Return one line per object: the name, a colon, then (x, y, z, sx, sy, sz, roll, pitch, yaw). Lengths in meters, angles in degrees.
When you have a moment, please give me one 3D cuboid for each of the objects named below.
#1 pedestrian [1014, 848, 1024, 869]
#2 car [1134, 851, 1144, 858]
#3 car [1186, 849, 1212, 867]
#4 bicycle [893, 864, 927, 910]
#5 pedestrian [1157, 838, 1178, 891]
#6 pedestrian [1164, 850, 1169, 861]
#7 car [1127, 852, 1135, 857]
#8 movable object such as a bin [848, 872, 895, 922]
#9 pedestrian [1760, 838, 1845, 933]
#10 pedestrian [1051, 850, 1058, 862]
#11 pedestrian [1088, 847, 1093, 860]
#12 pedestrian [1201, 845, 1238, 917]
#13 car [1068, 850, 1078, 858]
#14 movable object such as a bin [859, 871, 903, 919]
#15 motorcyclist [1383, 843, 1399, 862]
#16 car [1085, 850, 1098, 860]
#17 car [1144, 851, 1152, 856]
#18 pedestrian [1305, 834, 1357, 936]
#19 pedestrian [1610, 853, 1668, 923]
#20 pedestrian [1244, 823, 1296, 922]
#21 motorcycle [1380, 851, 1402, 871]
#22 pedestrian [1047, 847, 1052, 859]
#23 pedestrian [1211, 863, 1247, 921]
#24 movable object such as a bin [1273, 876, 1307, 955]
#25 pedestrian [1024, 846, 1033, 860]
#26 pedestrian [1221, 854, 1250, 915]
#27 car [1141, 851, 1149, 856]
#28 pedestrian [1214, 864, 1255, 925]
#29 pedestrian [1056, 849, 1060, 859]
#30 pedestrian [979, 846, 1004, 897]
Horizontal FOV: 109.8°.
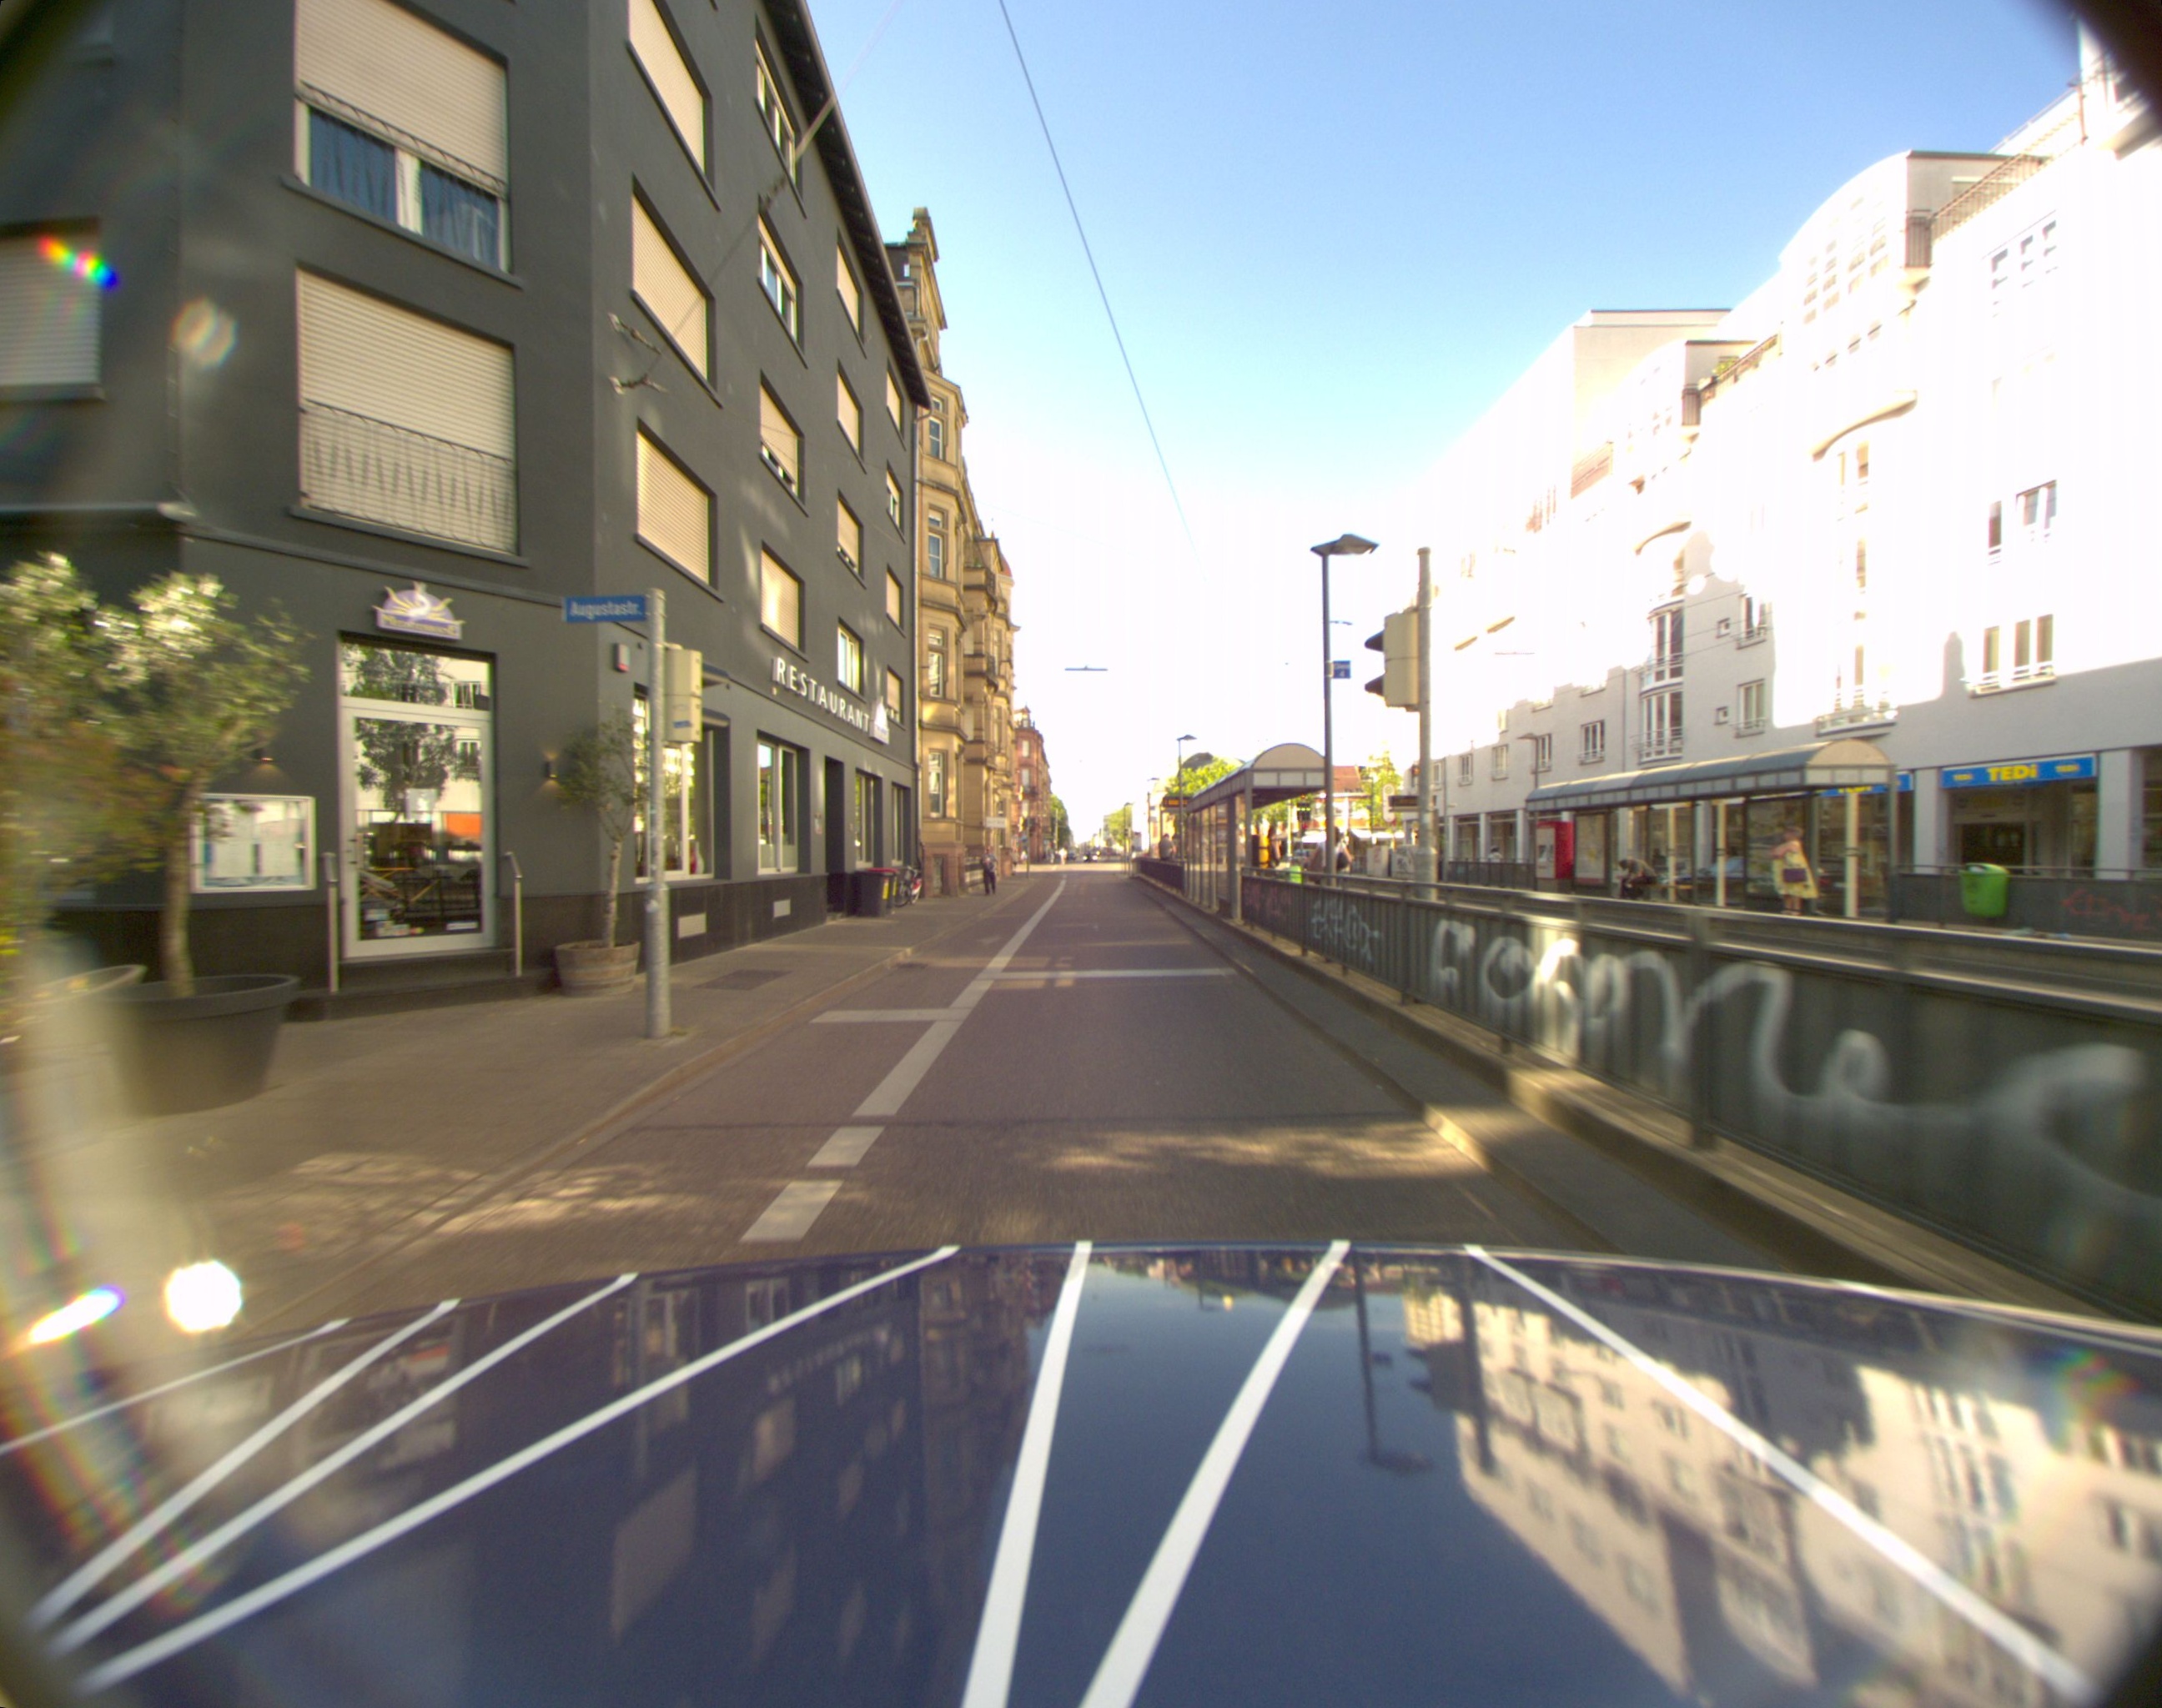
pedestrian: (-4.819, 0.348, 59.071, 0.702, 1.645, 0.631, 0, 2, -4)
car: (13.315, 0.099, 174.914, 1.999, 1.443, 4.649, 0, 1, -1)
car: (13.446, 0.417, 87.135, 2.233, 1.900, 4.608, 0, 1, -1)
bicycle: (-4.601, 0.865, 20.507, 0.460, 1.116, 1.773, 1, 1, 1)
pedestrian: (2.830, 0.330, 24.834, 0.637, 1.688, 0.933, -1, 2, 8)
pedestrian: (11.872, 0.176, 105.849, 0.501, 1.509, 0.859, 2, 1, 0)
car: (14.617, 0.188, 221.979, 1.999, 1.443, 4.501, 0, 1, -1)
movable object such as a bin: (-4.632, 0.940, 16.839, 0.750, 1.030, 0.753, 4, 1, 1)
pedestrian: (12.172, 0.522, 12.847, 0.733, 1.550, 0.743, 0, 0, -1)
pedestrian: (-3.551, 0.327, 101.973, 0.684, 1.598, 0.729, 0, 1, -33)
pedestrian: (1.282, -0.124, 102.929, 0.559, 1.753, 0.895, 2, 1, 0)
pedestrian: (3.486, 0.656, 19.149, 0.717, 1.767, 0.566, 1, 1, 36)
car: (-1.466, -0.026, 138.161, 1.694, 1.442, 4.359, -1, 1, 0)
movable object such as a bin: (-4.621, 0.940, 17.600, 0.750, 1.030, 0.753, 4, 1, 1)
motorcyclist: (17.914, -0.087, 43.899, 0.560, 1.068, 0.827, -1, 2, 1)
car: (1.569, 0.129, 112.749, 1.815, 1.415, 4.153, -1, 1, 0)
car: (18.020, -0.163, 204.217, 1.753, 1.445, 3.470, -1, 1, -1)
pedestrian: (3.853, 0.467, 11.745, 0.622, 1.549, 0.568, 0, 1, 1)
pedestrian: (12.407, 0.749, 16.911, 0.733, 1.518, 0.743, 0, 0, -1)
pedestrian: (3.448, 0.329, 13.855, 0.566, 1.741, 0.717, 0, 1, -28)
motorcycle: (17.949, 0.420, 43.970, 0.560, 1.068, 1.844, -1, 2, 1)
pedestrian: (-4.191, -0.092, 100.339, 0.634, 1.529, 0.941, 0, 2, -3)
pedestrian: (3.344, 0.856, 17.223, 0.713, 1.265, 0.657, 0, 1, 3)
movable object such as a bin: (2.768, 0.807, 10.083, 0.347, 1.001, 0.404, 0, 1, 2)
pedestrian: (-6.112, -0.112, 88.307, 0.925, 1.623, 0.941, 0, 2, -7)
pedestrian: (4.038, 0.783, 19.828, 0.585, 1.553, 0.470, 1, 1, 36)
car: (17.925, -0.152, 213.878, 1.856, 1.445, 3.853, -1, 1, 0)
pedestrian: (3.271, 0.848, 16.247, 0.766, 1.265, 0.719, 0, 1, 3)
pedestrian: (-4.161, -0.025, 137.609, 0.686, 1.901, 1.063, -1, 2, 3)
pedestrian: (-3.132, 0.607, 26.649, 0.782, 1.739, 1.093, 0, -1, -2)
